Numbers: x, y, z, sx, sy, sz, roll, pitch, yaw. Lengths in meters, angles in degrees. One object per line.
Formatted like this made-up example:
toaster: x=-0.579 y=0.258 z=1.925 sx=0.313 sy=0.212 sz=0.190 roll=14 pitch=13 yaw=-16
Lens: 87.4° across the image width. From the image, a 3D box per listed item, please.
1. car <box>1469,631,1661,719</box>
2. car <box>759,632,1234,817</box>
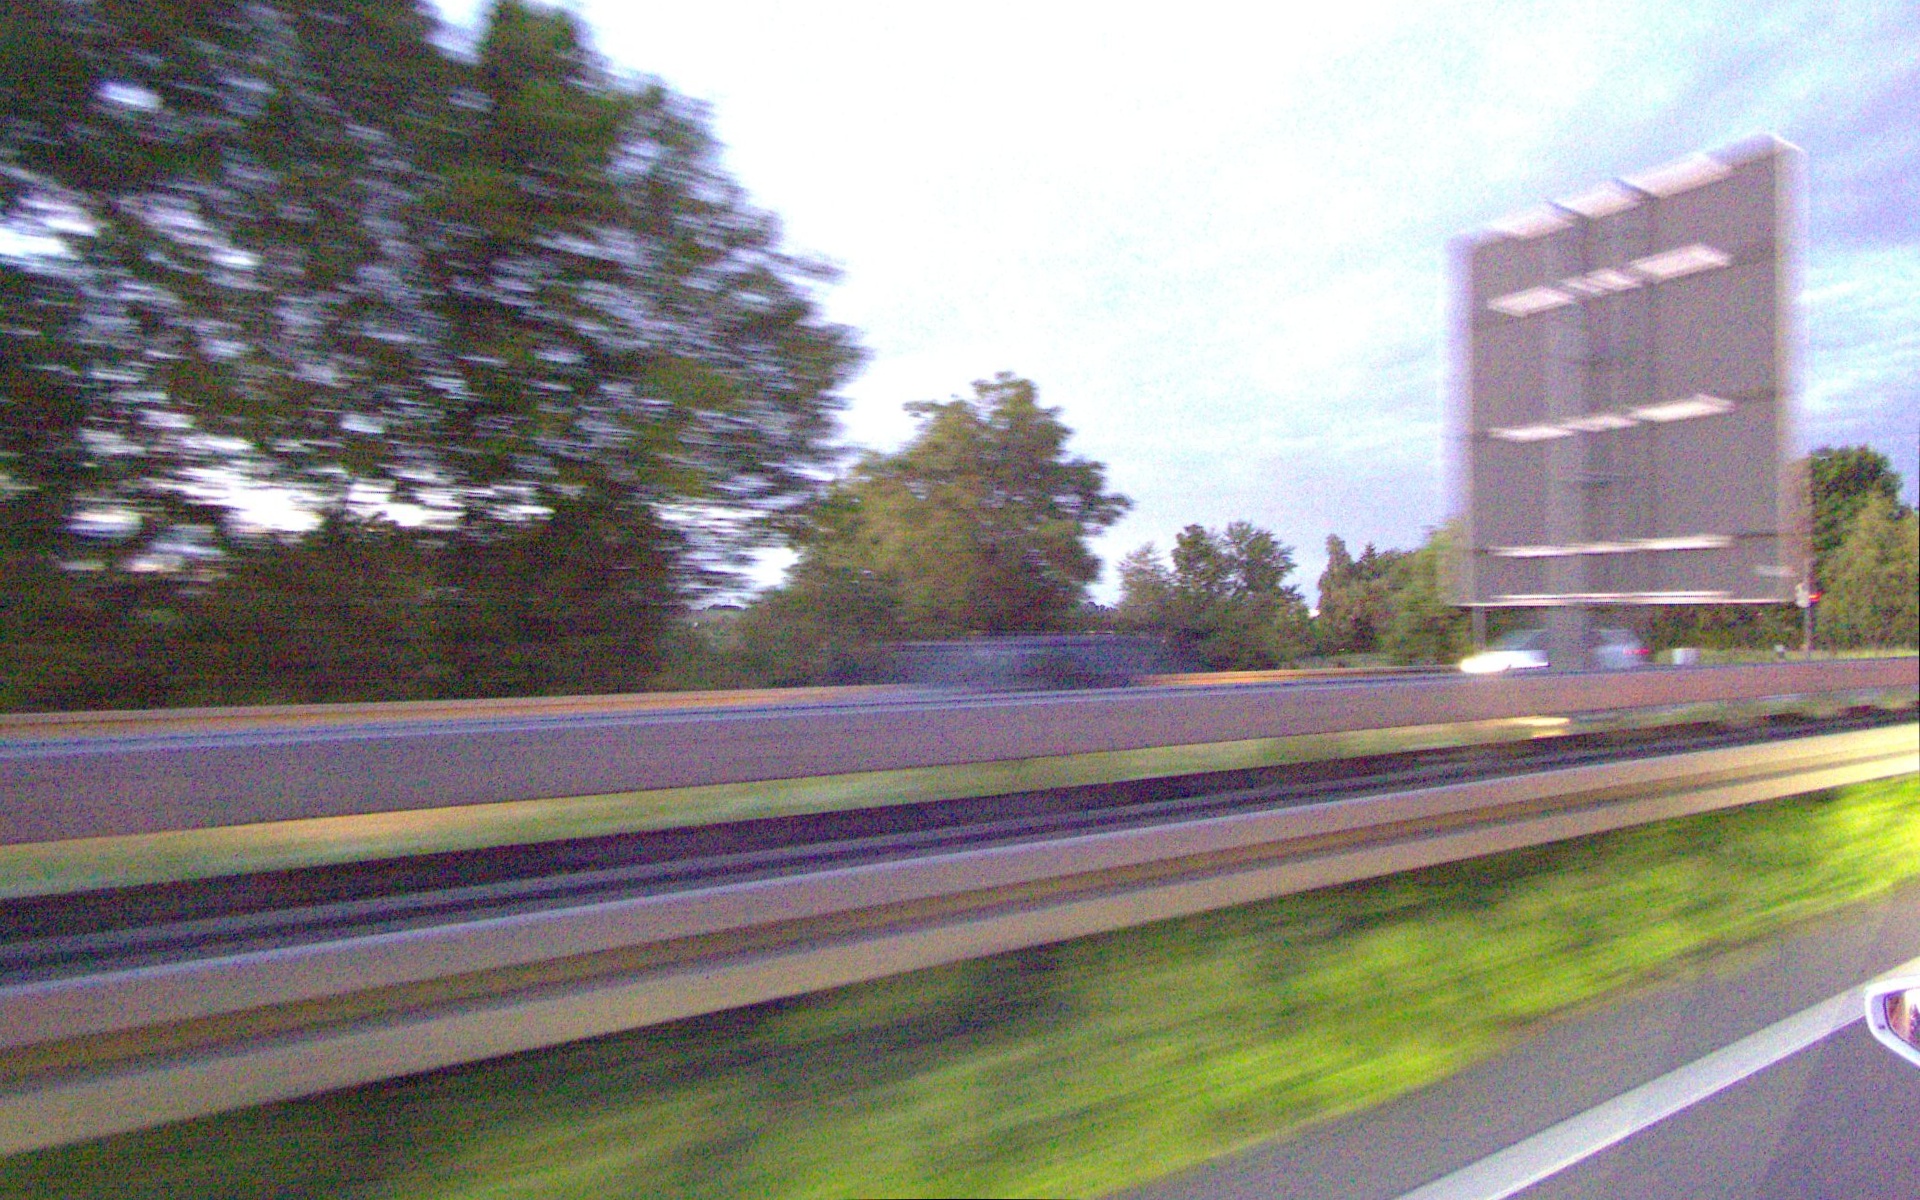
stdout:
car: x=13.082 y=1.535 z=21.646 sx=4.453 sy=1.693 sz=1.784 roll=1 pitch=-1 yaw=-33
car: x=0.453 y=1.063 z=9.985 sx=4.452 sy=1.450 sz=1.910 roll=1 pitch=-3 yaw=-33
